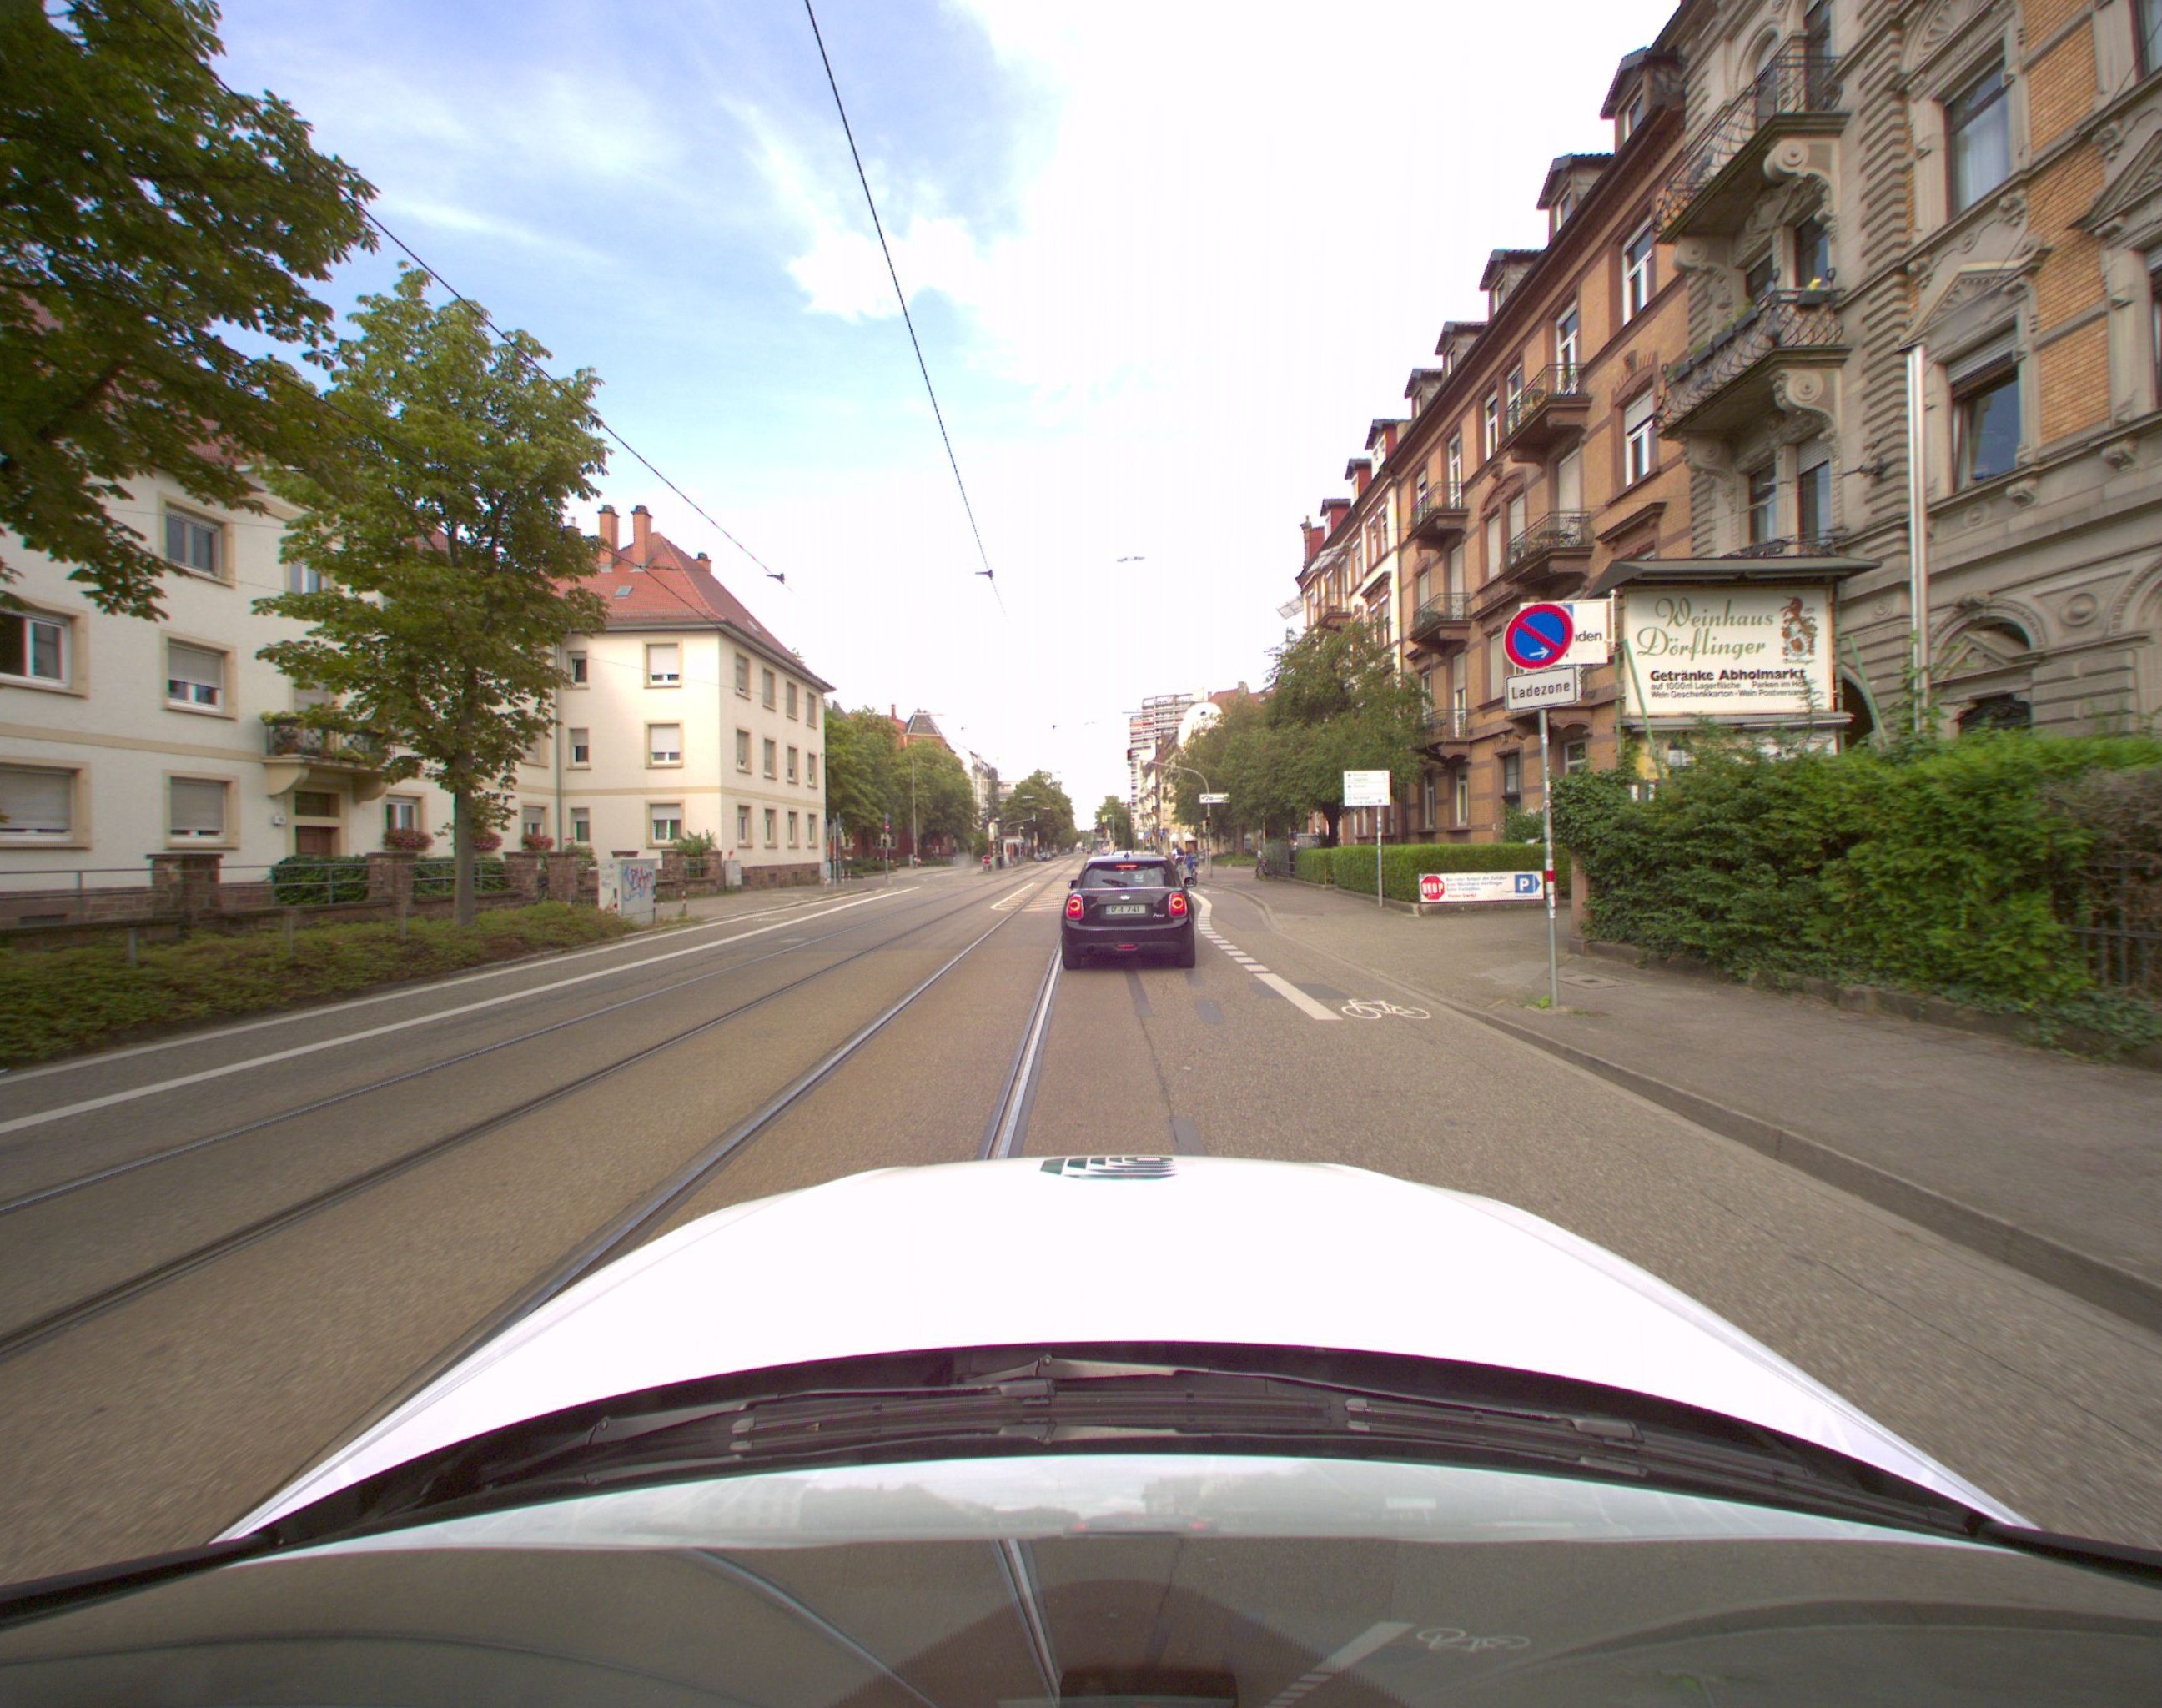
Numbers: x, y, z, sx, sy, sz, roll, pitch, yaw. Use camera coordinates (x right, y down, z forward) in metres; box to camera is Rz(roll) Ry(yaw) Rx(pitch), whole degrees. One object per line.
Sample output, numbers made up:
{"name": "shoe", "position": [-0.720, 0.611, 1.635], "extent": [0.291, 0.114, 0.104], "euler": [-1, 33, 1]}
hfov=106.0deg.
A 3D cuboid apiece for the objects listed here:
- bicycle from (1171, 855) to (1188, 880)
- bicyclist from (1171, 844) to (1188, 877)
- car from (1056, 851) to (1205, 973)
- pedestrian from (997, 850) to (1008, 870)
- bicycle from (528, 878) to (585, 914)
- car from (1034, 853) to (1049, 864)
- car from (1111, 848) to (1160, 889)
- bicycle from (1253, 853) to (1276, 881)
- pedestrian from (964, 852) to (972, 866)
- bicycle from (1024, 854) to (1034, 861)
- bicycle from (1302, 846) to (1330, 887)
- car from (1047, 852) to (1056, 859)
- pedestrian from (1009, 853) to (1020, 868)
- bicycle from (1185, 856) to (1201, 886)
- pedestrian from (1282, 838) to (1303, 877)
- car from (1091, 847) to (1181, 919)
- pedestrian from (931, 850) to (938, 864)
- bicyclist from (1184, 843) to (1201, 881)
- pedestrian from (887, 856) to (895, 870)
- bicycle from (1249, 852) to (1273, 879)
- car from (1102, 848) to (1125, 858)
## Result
{"name": "bicycle", "position": [4.760, 0.640, 39.391], "extent": [0.681, 1.170, 1.698], "euler": [-2, 0, 3]}
{"name": "bicyclist", "position": [4.751, 0.293, 39.327], "extent": [0.681, 1.564, 0.999], "euler": [-2, 0, 3]}
{"name": "car", "position": [0.748, 0.691, 11.779], "extent": [1.744, 1.441, 4.005], "euler": [-1, 0, 4]}
{"name": "pedestrian", "position": [-6.555, 0.472, 67.671], "extent": [0.850, 1.620, 0.842], "euler": [-1, 0, -5]}
{"name": "bicycle", "position": [-14.805, 1.171, 23.040], "extent": [0.476, 0.915, 1.672], "euler": [-2, 0, 1]}
{"name": "car", "position": [-5.806, 0.651, 120.471], "extent": [1.745, 1.441, 4.003], "euler": [0, 0, 3]}
{"name": "car", "position": [2.107, 0.517, 31.957], "extent": [1.744, 1.441, 4.483], "euler": [-1, 0, 3]}
{"name": "bicycle", "position": [7.421, 0.512, 33.004], "extent": [0.507, 1.088, 1.550], "euler": [-5, 0, 1]}
{"name": "pedestrian", "position": [-13.526, 0.612, 97.368], "extent": [0.691, 1.719, 0.758], "euler": [-1, 0, 2]}
{"name": "bicycle", "position": [-8.902, 0.656, 138.693], "extent": [1.680, 1.119, 0.566], "euler": [-2, 0, -39]}
{"name": "bicycle", "position": [7.678, 0.400, 26.674], "extent": [0.514, 1.282, 1.551], "euler": [-2, 0, 3]}
{"name": "car", "position": [-7.569, 0.397, 207.884], "extent": [1.986, 1.552, 4.001], "euler": [-1, 0, 1]}
{"name": "pedestrian", "position": [-6.177, 0.607, 75.655], "extent": [1.056, 1.293, 0.984], "euler": [-1, 0, -5]}
{"name": "bicycle", "position": [4.580, 0.672, 33.418], "extent": [0.595, 1.170, 1.700], "euler": [-2, 0, 6]}
{"name": "pedestrian", "position": [9.785, 0.143, 37.696], "extent": [0.727, 1.754, 0.951], "euler": [-1, 0, 5]}
{"name": "car", "position": [1.320, 0.616, 19.576], "extent": [1.918, 1.510, 4.004], "euler": [-1, 0, 4]}
{"name": "pedestrian", "position": [-18.925, 0.407, 105.416], "extent": [0.831, 1.703, 0.731], "euler": [-1, 0, -5]}
{"name": "bicyclist", "position": [4.569, 0.314, 33.406], "extent": [0.591, 1.550, 1.015], "euler": [-2, 0, 6]}
{"name": "pedestrian", "position": [-23.108, 1.076, 98.930], "extent": [0.831, 1.703, 0.731], "euler": [-1, 0, -5]}
{"name": "bicycle", "position": [7.896, 0.496, 35.723], "extent": [0.668, 1.106, 1.672], "euler": [-2, 0, 1]}
{"name": "car", "position": [7.643, -0.298, 190.297], "extent": [5.065, 2.272, 2.369], "euler": [-1, 0, -40]}
